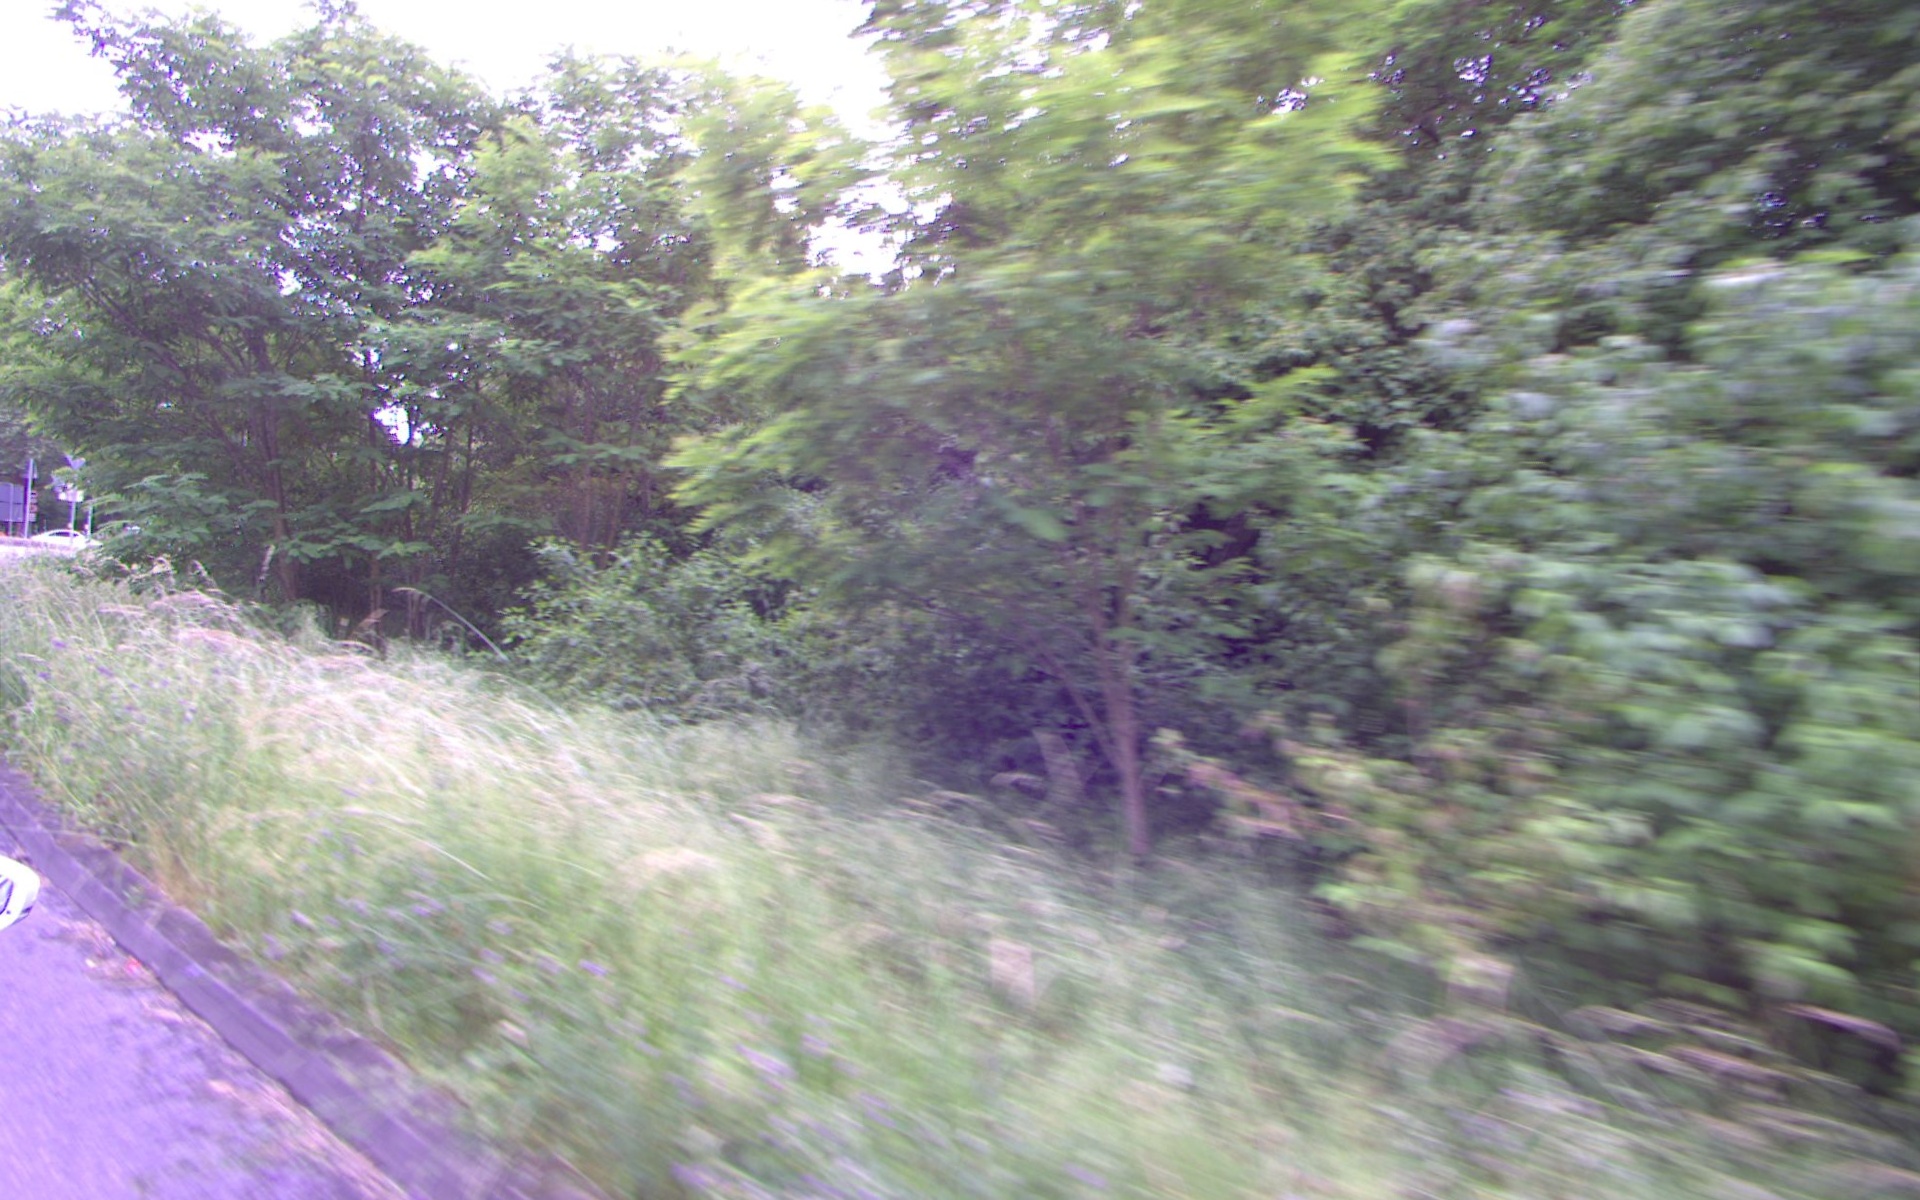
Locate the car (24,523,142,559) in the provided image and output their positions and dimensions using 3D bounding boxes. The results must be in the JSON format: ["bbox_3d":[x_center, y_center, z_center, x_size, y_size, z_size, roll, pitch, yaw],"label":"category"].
[{"bbox_3d":[-46.461,-3.108,53.388,4.337,1.354,2.001,4,-3,-3],"label":"car"}]

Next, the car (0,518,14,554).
[{"bbox_3d":[-52.989,-3.548,53.241,3.963,1.836,1.855,3,-1,-2],"label":"car"}]

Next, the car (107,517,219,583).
[{"bbox_3d":[-22.740,-1.447,28.856,1.888,1.484,3.966,9,-1,-32],"label":"car"}]

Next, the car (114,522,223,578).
[{"bbox_3d":[-28.477,-1.753,36.299,1.553,1.575,3.015,8,-2,-6],"label":"car"}]
